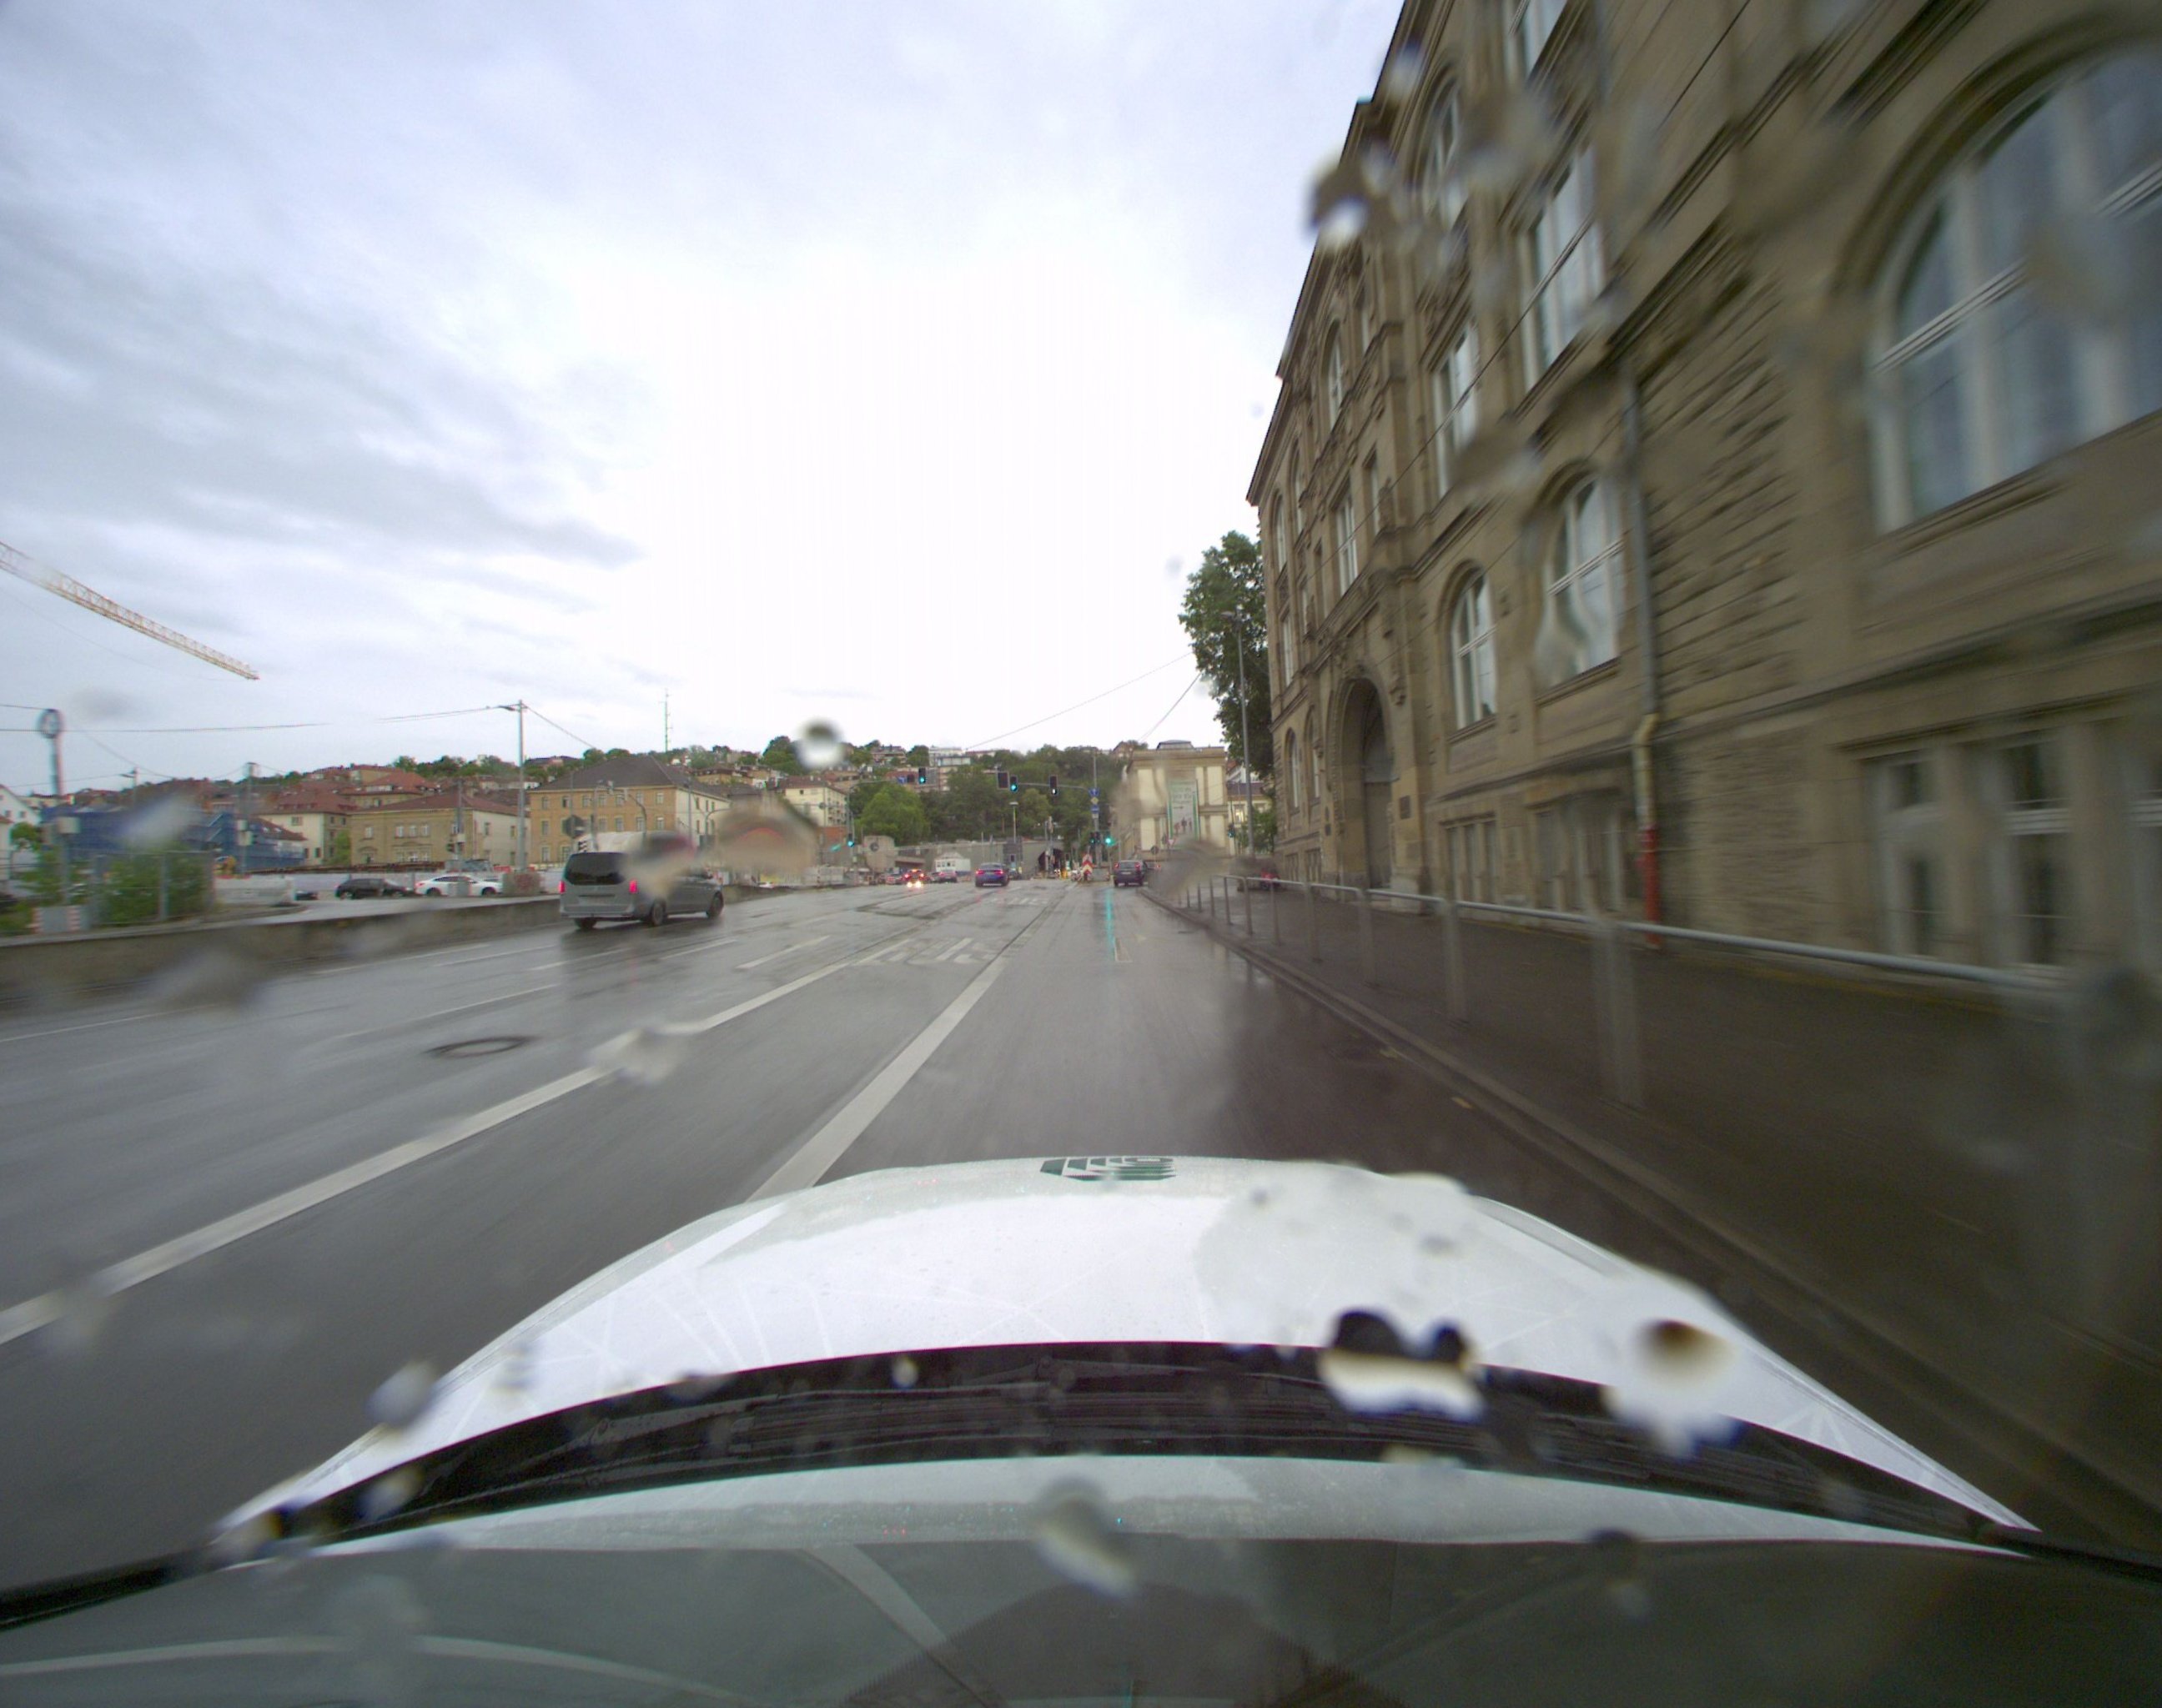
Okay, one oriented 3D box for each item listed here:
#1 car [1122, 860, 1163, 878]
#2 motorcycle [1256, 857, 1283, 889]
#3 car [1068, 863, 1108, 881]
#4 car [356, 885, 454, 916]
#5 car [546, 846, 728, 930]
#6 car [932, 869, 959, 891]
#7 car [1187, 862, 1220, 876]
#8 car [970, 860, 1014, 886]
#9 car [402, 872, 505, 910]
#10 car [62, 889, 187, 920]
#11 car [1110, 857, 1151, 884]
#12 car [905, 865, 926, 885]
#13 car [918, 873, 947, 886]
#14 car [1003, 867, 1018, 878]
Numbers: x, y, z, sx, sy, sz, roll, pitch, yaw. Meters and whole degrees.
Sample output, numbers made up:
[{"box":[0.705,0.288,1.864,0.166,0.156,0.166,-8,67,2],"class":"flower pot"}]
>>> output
[{"box":[7.343,1.831,97.802,4.665,2.014,1.997,-1,0,-4],"class":"car"},{"box":[7.052,0.695,30.559,0.544,1.138,1.899,-2,-1,1],"class":"motorcycle"},{"box":[0.772,2.099,97.230,4.617,2.014,1.997,-1,0,-4],"class":"car"},{"box":[-43.818,3.007,52.918,4.429,1.717,1.984,-2,-1,-24],"class":"car"},{"box":[-11.076,0.814,20.800,1.986,1.839,4.684,-1,-1,1],"class":"car"},{"box":[-13.516,2.588,81.106,2.000,2.013,4.267,-1,0,-19],"class":"car"},{"box":[16.651,2.047,110.823,4.166,1.701,1.823,-1,0,1],"class":"car"},{"box":[-5.453,1.152,50.239,1.985,1.438,4.004,-2,0,3],"class":"car"},{"box":[-37.057,2.149,48.229,4.429,2.014,1.984,-2,-1,-24],"class":"car"},{"box":[-57.416,3.008,48.964,4.514,1.557,1.991,-2,-1,-13],"class":"car"},{"box":[2.856,0.916,46.119,1.658,1.427,3.771,-1,0,13],"class":"car"},{"box":[-15.137,1.902,74.708,1.777,1.750,3.984,-1,0,-11],"class":"car"},{"box":[-17.383,2.981,95.083,1.790,1.464,3.956,-1,0,-36],"class":"car"},{"box":[-9.290,2.408,107.875,1.488,1.354,4.001,0,-1,1],"class":"car"}]
